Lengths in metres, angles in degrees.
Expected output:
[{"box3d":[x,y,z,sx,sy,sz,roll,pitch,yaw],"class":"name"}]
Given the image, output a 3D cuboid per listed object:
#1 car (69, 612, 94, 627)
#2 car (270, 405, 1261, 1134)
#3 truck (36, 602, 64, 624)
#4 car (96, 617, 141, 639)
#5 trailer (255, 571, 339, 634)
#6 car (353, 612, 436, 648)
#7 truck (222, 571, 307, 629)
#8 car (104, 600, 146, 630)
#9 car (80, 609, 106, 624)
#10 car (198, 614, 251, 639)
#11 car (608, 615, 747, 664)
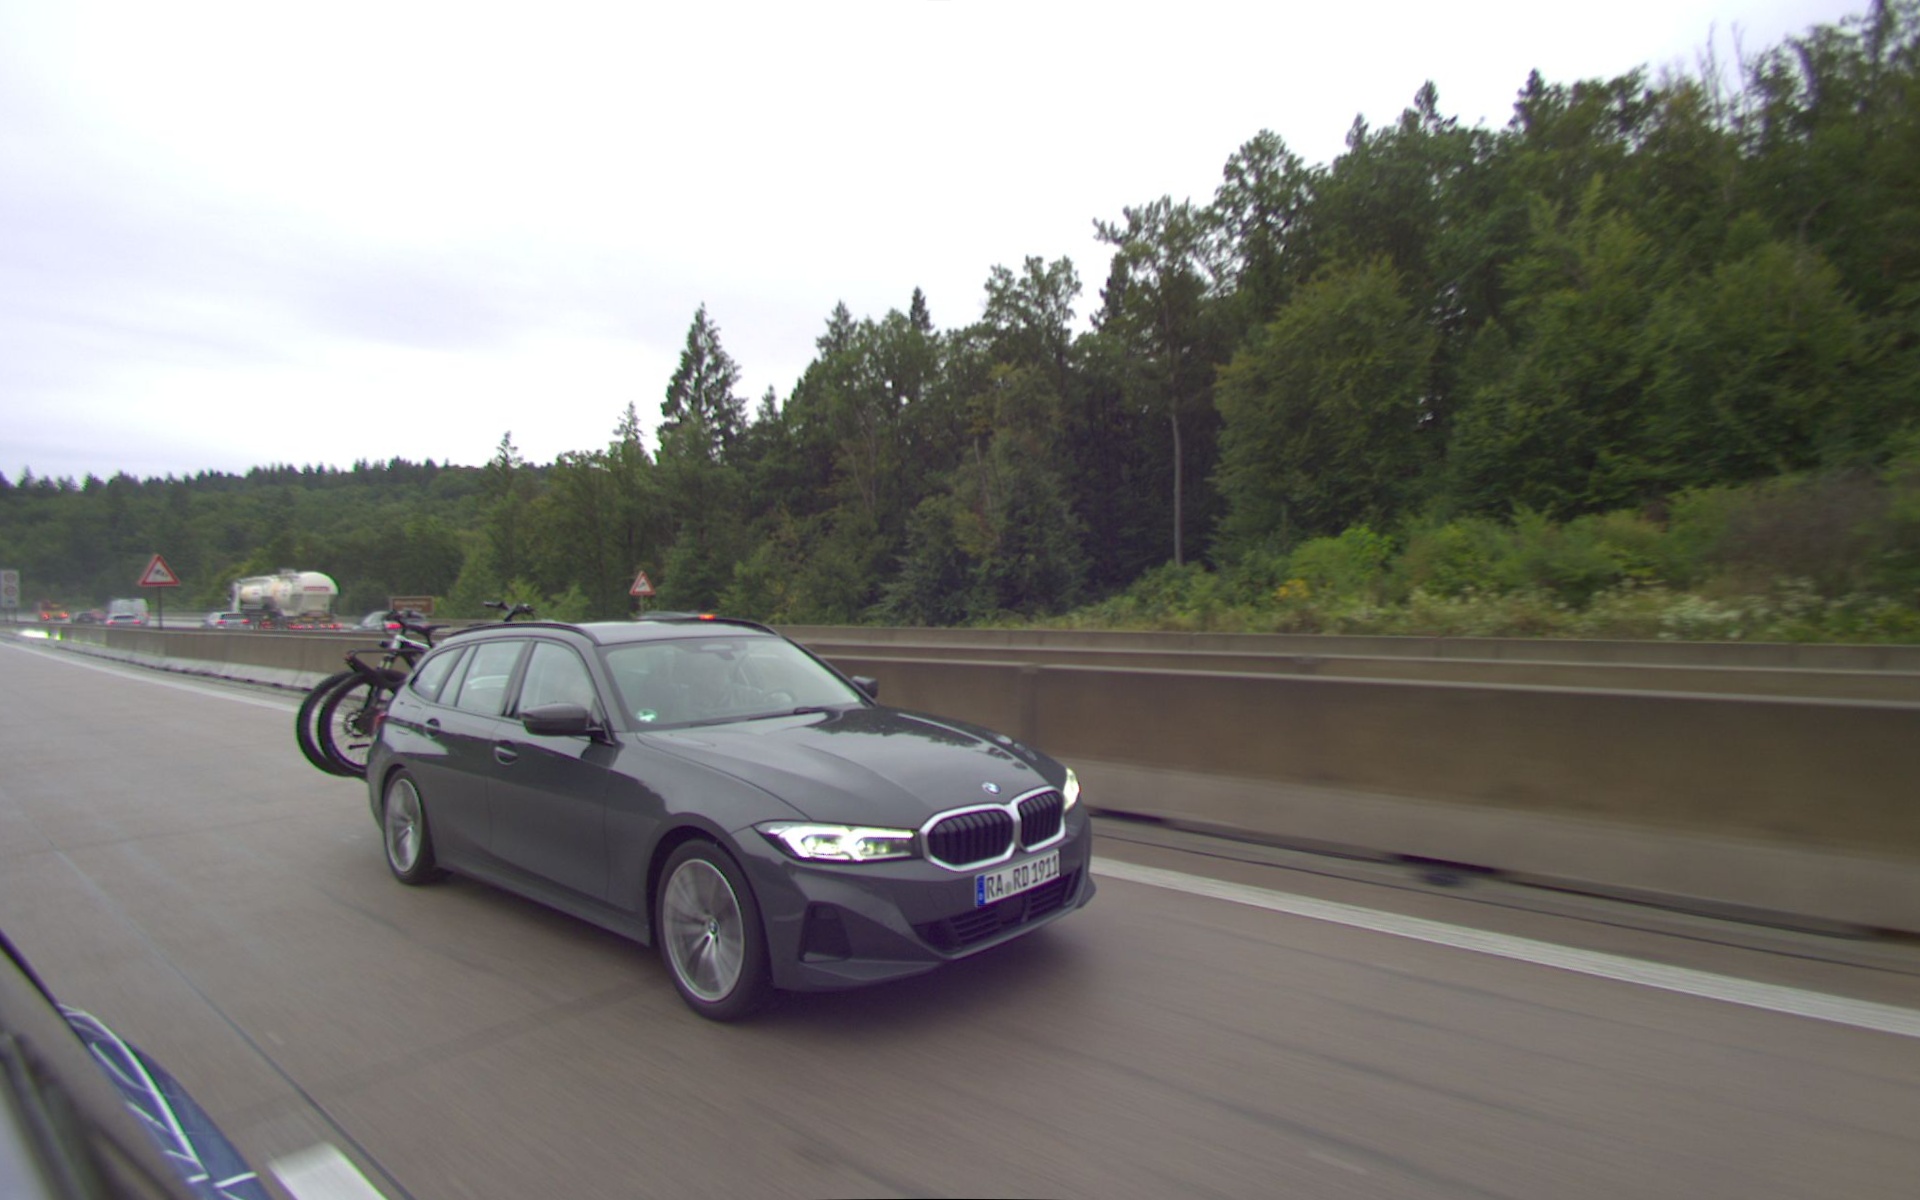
[{"box3d":[-94.634,2.106,109.014,4.643,1.565,1.590,-1,0,44],"class":"car"},{"box3d":[-1.702,0.499,5.479,6.159,1.959,1.888,-1,-1,41],"class":"car"},{"box3d":[-140.288,2.075,155.969,10.665,3.198,2.405,-1,1,44],"class":"truck"},{"box3d":[-57.087,1.873,68.626,4.756,1.382,1.641,-1,0,41],"class":"car"},{"box3d":[-41.646,0.211,63.454,8.230,3.695,2.518,-1,0,43],"class":"trailer"},{"box3d":[-22.699,1.168,40.555,1.781,1.343,4.567,-1,0,-44],"class":"car"},{"box3d":[-47.604,0.070,69.088,10.491,3.695,2.536,-1,0,43],"class":"truck"},{"box3d":[-71.707,1.298,86.879,6.746,2.467,1.972,-1,0,43],"class":"car"},{"box3d":[-110.495,2.102,128.970,4.975,1.712,1.971,-1,0,44],"class":"car"},{"box3d":[-43.640,1.546,59.991,4.721,1.382,1.641,-1,0,43],"class":"car"},{"box3d":[-7.595,1.007,26.981,4.403,1.174,1.494,-1,0,43],"class":"car"}]
